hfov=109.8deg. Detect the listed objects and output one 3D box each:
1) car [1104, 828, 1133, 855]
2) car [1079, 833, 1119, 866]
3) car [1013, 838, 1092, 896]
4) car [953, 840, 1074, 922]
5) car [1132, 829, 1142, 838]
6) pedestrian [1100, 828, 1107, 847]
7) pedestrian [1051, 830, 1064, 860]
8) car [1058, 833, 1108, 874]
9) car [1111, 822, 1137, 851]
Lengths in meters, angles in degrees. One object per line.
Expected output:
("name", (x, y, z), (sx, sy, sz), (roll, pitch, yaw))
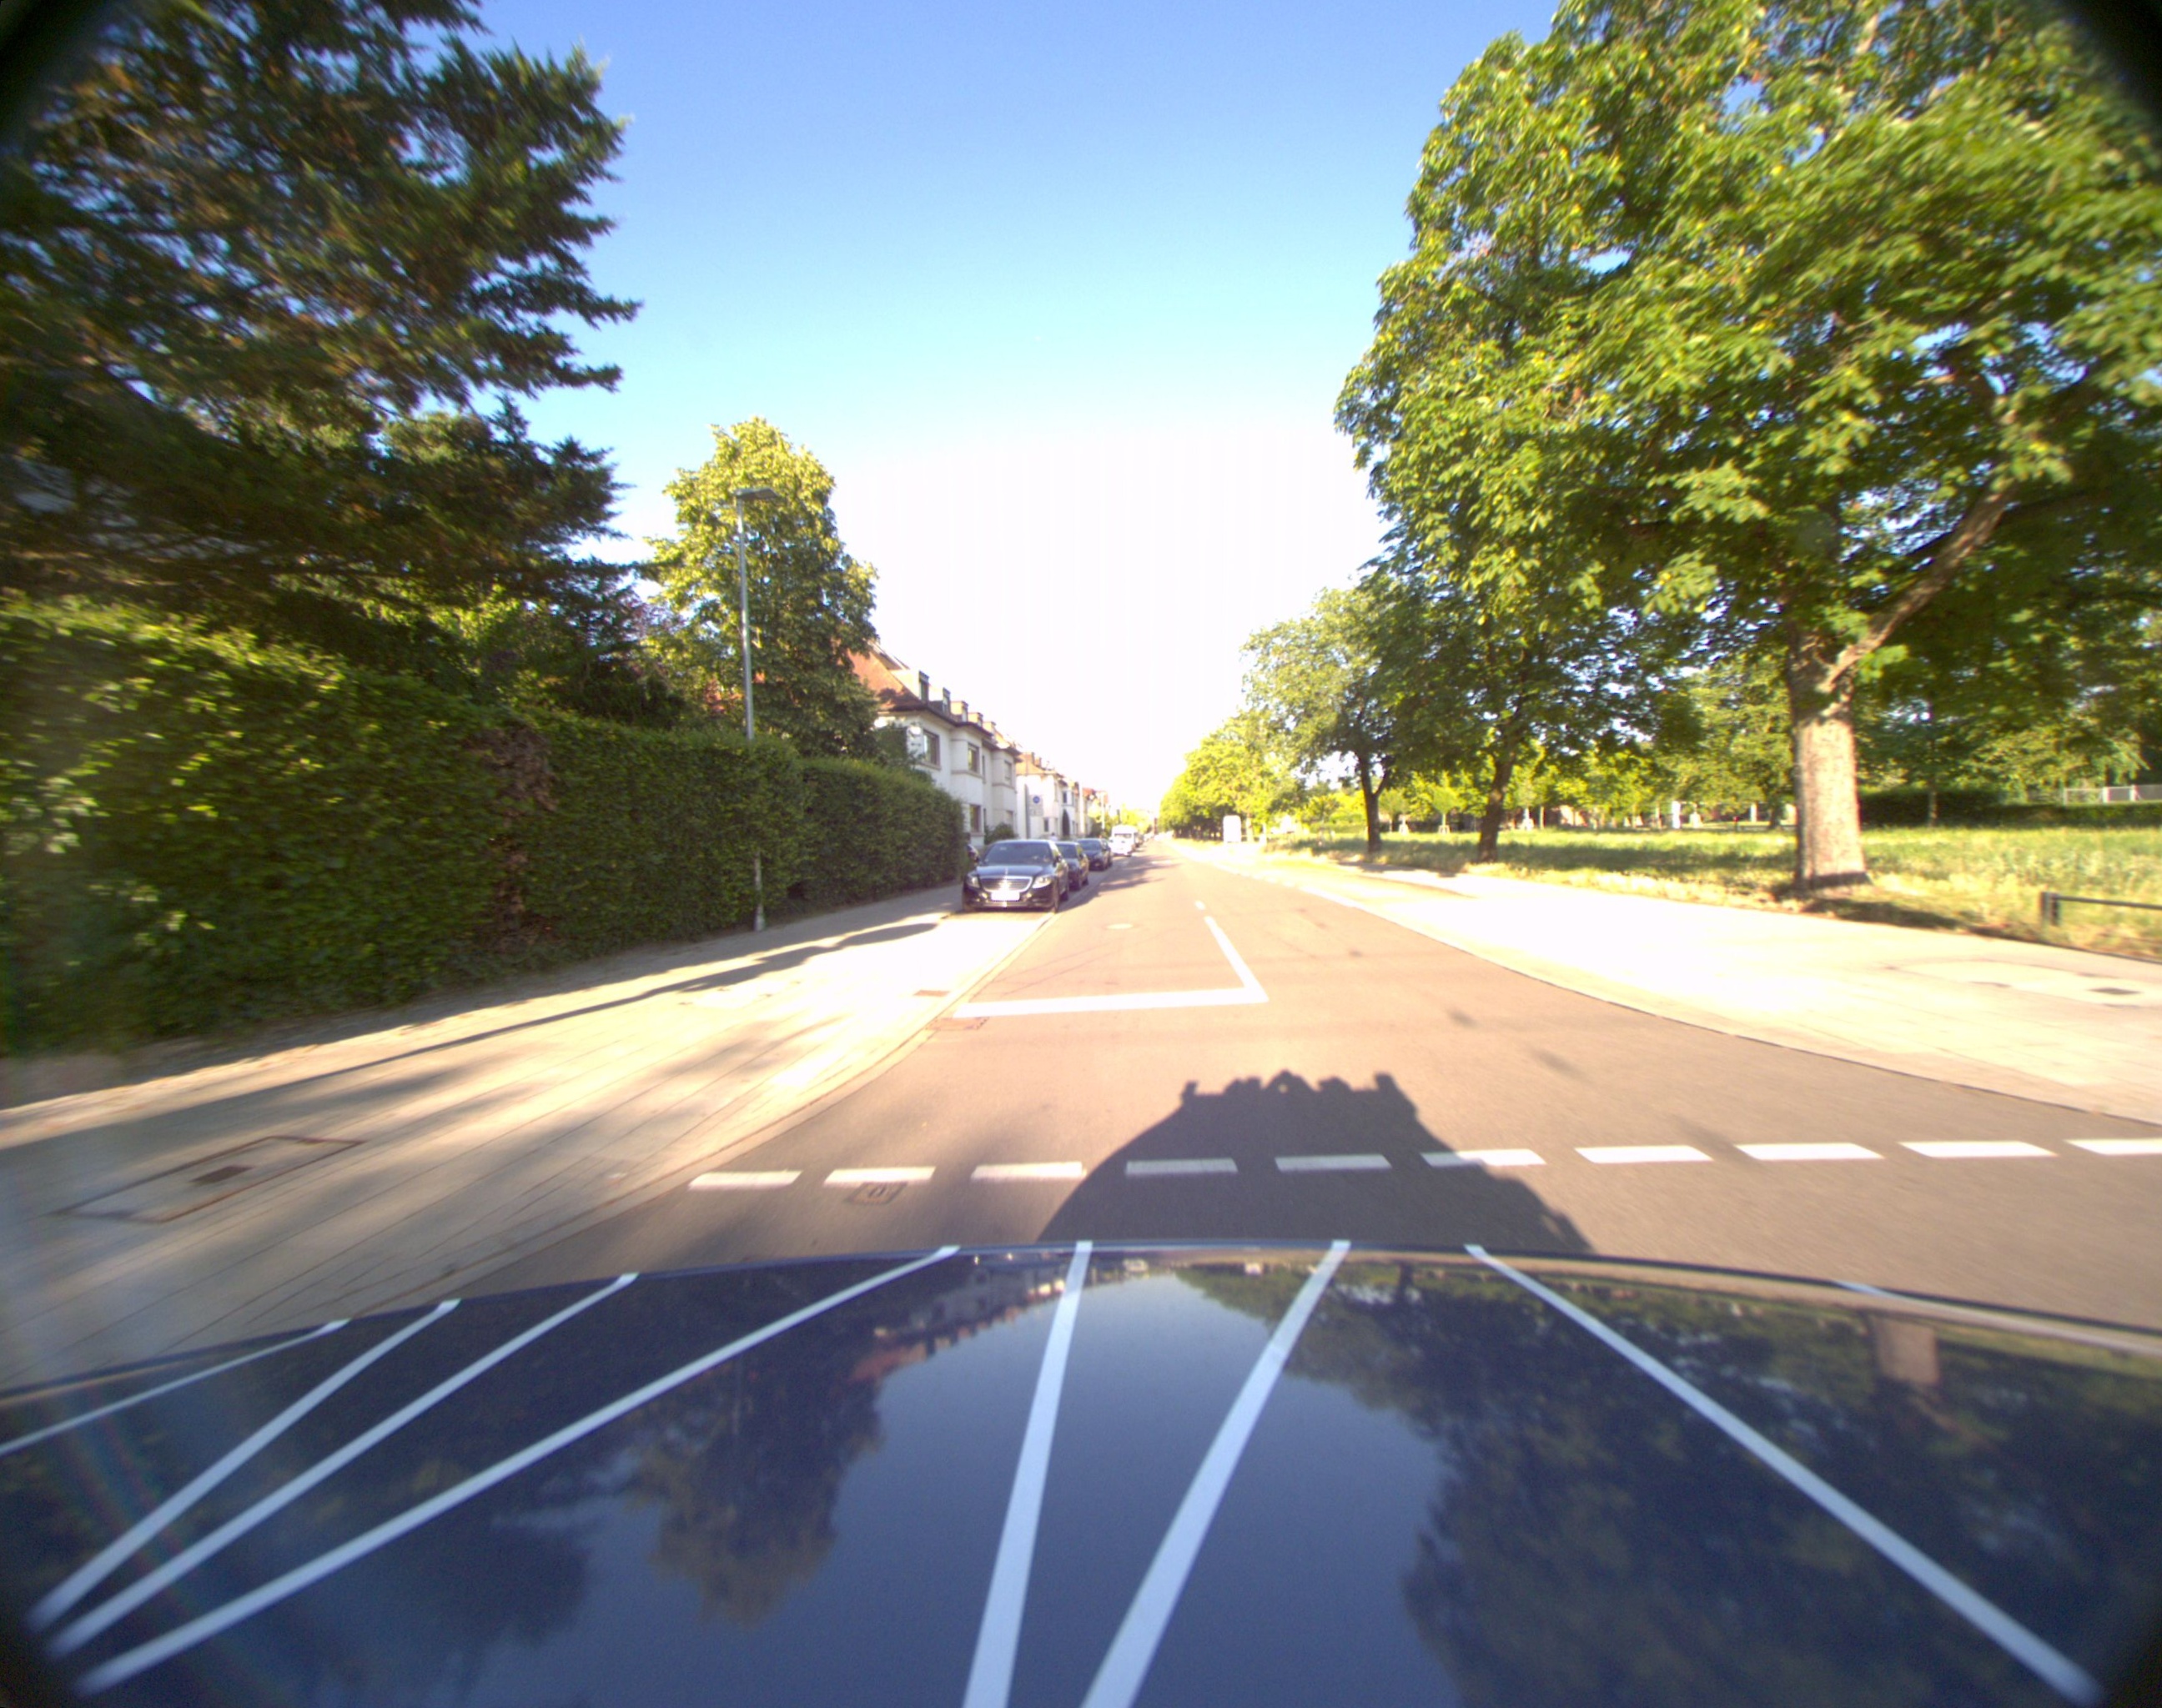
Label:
("car", (2.903, -1.007, 58.161), (1.998, 1.776, 3.999), (-4, 3, 5))
("car", (0.979, -0.272, 39.942), (1.679, 1.525, 3.472), (-4, 1, 7))
("car", (-0.769, 0.319, 22.984), (1.783, 1.469, 4.000), (-4, 1, 5))
("car", (-1.330, 0.483, 17.117), (2.008, 1.490, 4.915), (0, 2, 3))
("car", (9.528, -3.495, 129.289), (1.681, 1.543, 3.843), (-1, 2, 4))
("pedestrian", (2.163, -1.576, 72.639), (0.531, 1.788, 0.589), (-4, 2, 4))
("pedestrian", (-1.492, -0.551, 47.826), (0.587, 1.836, 0.824), (-4, 3, 7))
("car", (0.157, -0.072, 34.123), (1.795, 1.587, 4.077), (-4, 1, 5))
("car", (4.112, -1.759, 72.311), (2.131, 2.462, 5.723), (-4, 3, 5))
